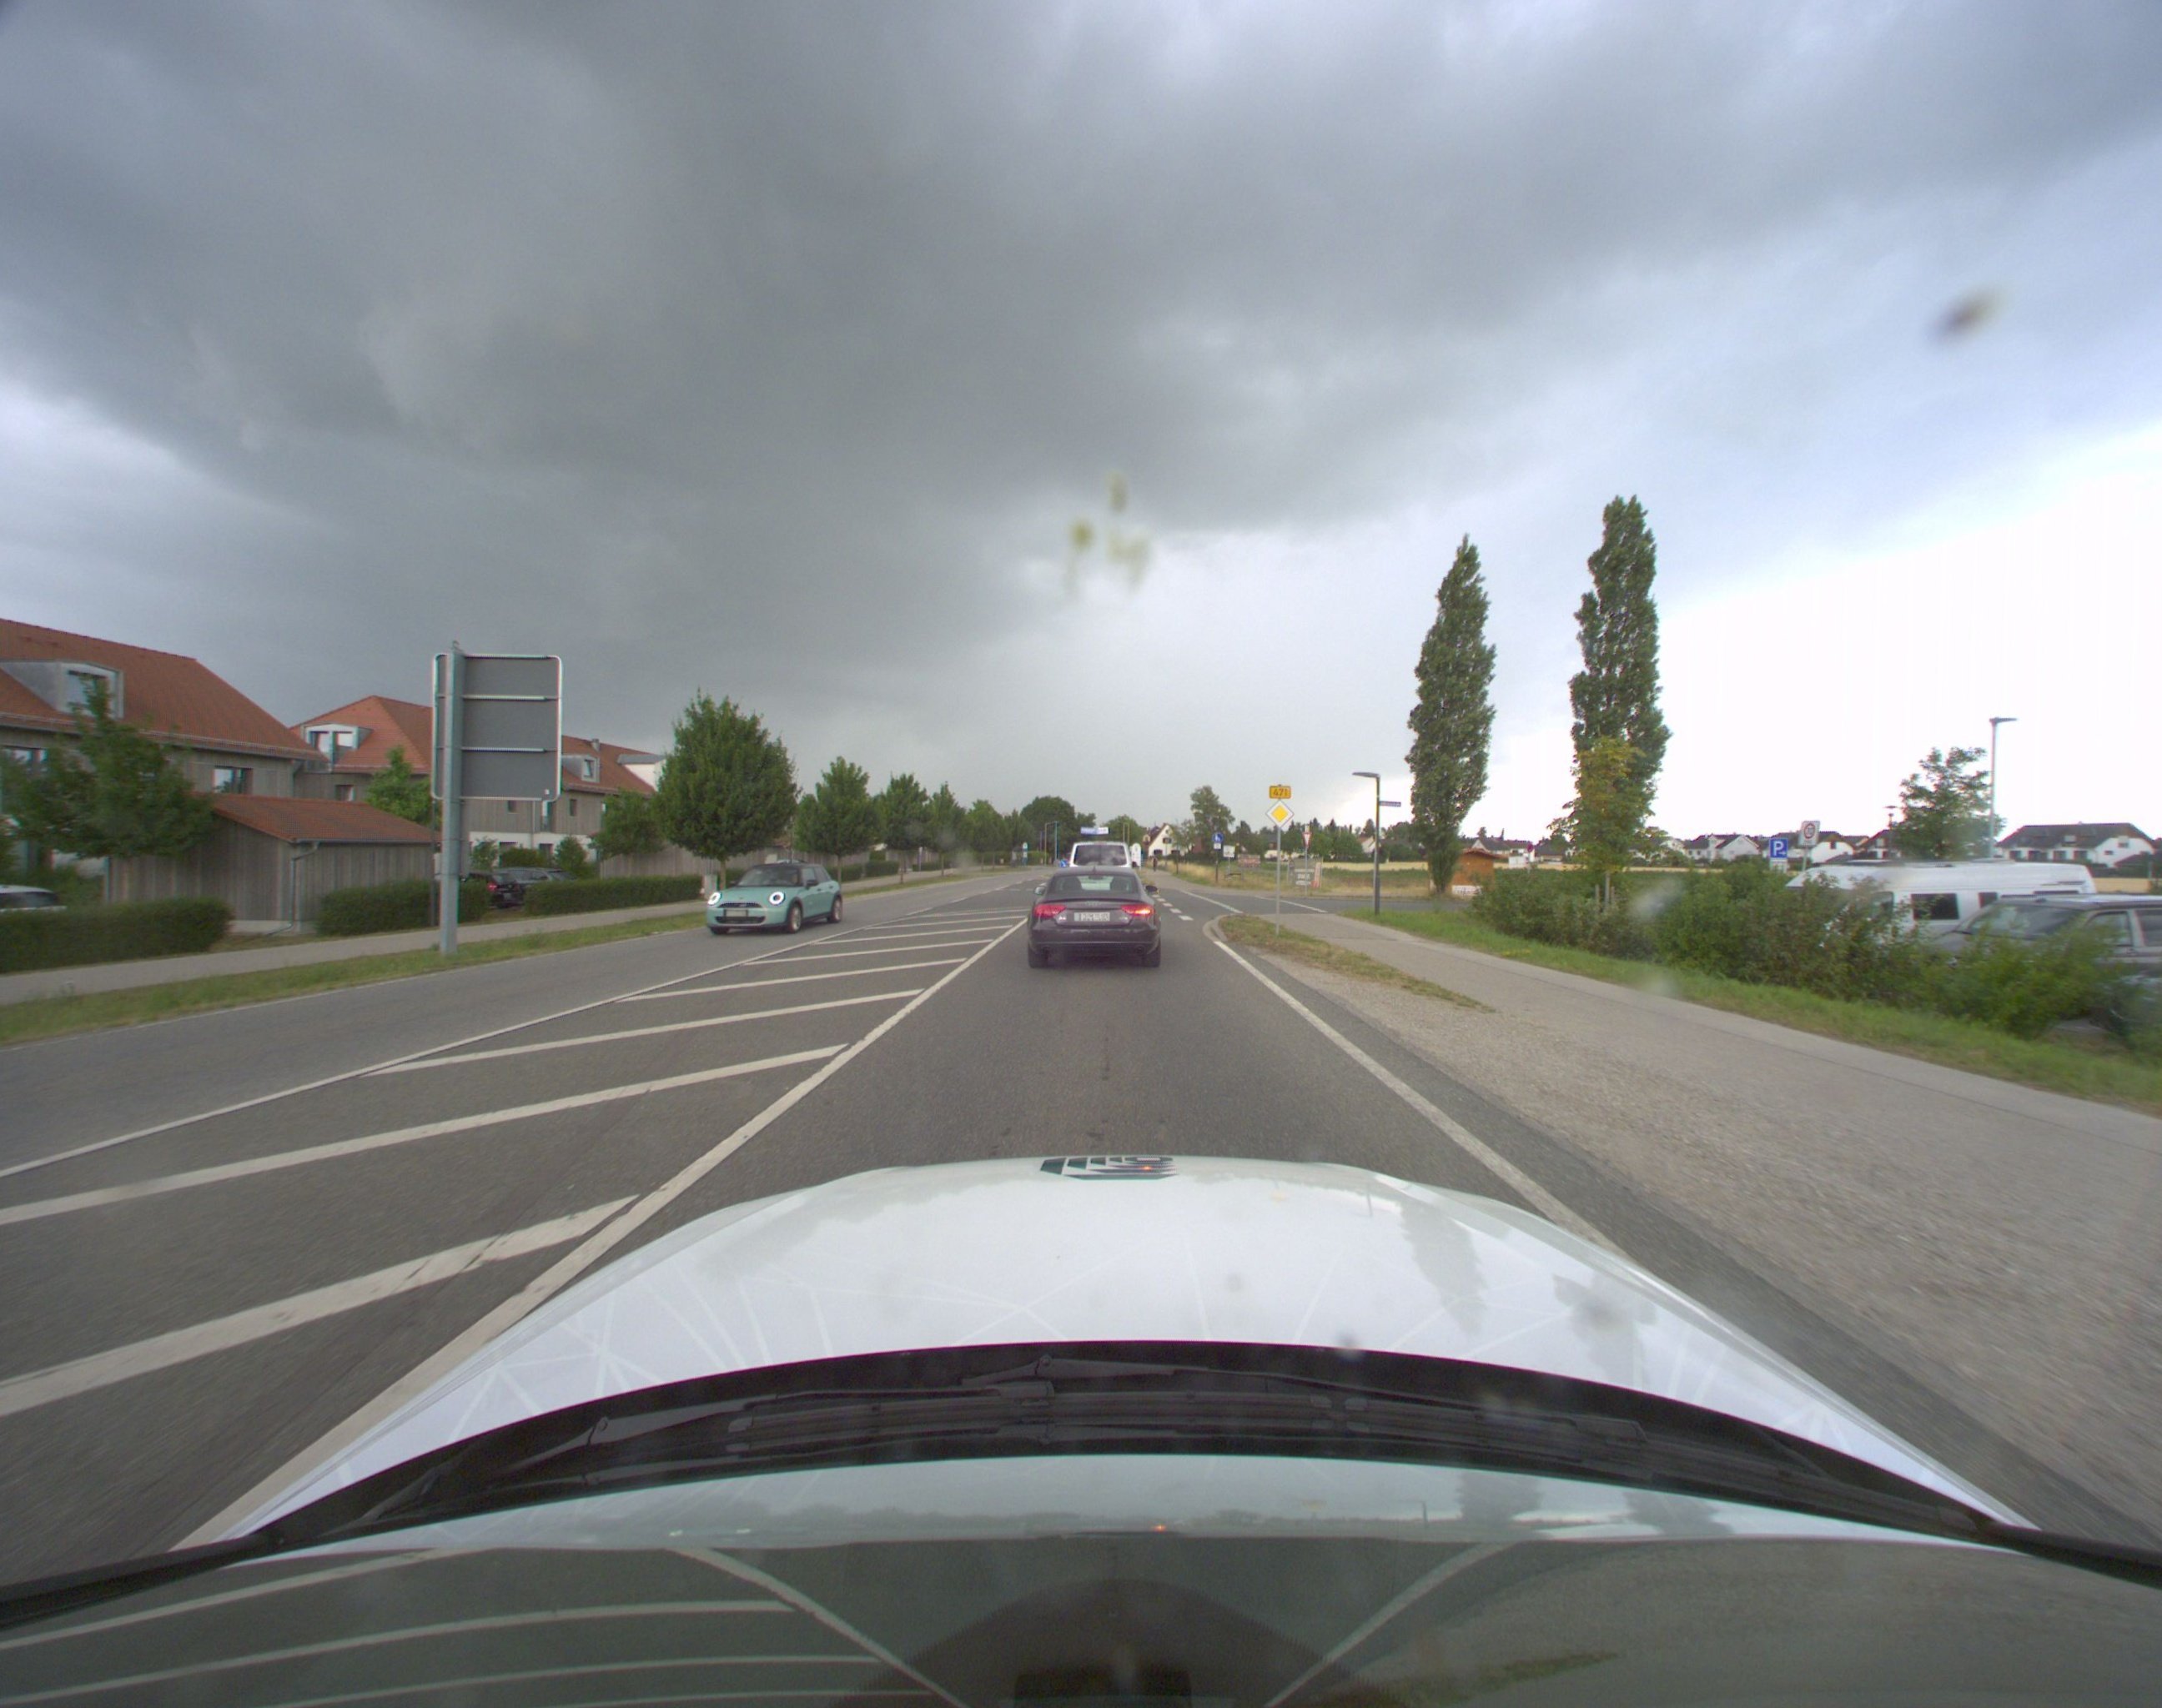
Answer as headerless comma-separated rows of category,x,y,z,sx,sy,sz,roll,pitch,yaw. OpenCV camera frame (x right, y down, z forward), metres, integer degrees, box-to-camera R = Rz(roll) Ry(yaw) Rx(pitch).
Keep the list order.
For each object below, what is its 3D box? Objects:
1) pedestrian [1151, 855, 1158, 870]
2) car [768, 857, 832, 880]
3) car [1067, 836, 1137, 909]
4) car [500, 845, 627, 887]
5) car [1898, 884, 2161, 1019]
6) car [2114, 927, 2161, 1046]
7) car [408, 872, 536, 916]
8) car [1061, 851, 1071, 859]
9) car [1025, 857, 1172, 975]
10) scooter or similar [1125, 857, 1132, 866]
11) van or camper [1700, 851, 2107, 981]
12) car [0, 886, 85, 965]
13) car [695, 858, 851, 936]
pedestrian,7.965,0.914,88.094,0.621,1.525,0.680,-1,0,1
car,-21.052,1.089,61.087,3.970,1.556,2.002,2,0,3
car,0.579,0.492,23.863,1.819,1.913,4.000,2,0,0
car,-21.340,0.472,33.688,3.970,1.618,2.002,-1,0,3
car,17.577,1.618,14.244,4.578,2.013,2.000,-1,0,-1
car,17.625,1.834,11.033,5.079,1.598,1.758,-1,0,-1
car,-22.368,1.448,29.991,3.501,1.489,1.564,-1,0,1
car,-2.697,0.201,145.754,1.647,1.429,3.603,-1,0,1
car,0.129,0.785,12.407,1.821,1.388,4.383,-1,0,-3
scooter or similar,6.016,0.971,103.960,0.845,1.103,1.094,-1,0,2
van or camper,17.253,1.231,17.353,6.447,2.464,2.281,-1,0,-1
car,-22.807,1.450,16.430,3.501,1.489,1.564,-1,0,1
car,-6.587,0.851,17.897,1.763,1.443,4.002,-1,0,2
